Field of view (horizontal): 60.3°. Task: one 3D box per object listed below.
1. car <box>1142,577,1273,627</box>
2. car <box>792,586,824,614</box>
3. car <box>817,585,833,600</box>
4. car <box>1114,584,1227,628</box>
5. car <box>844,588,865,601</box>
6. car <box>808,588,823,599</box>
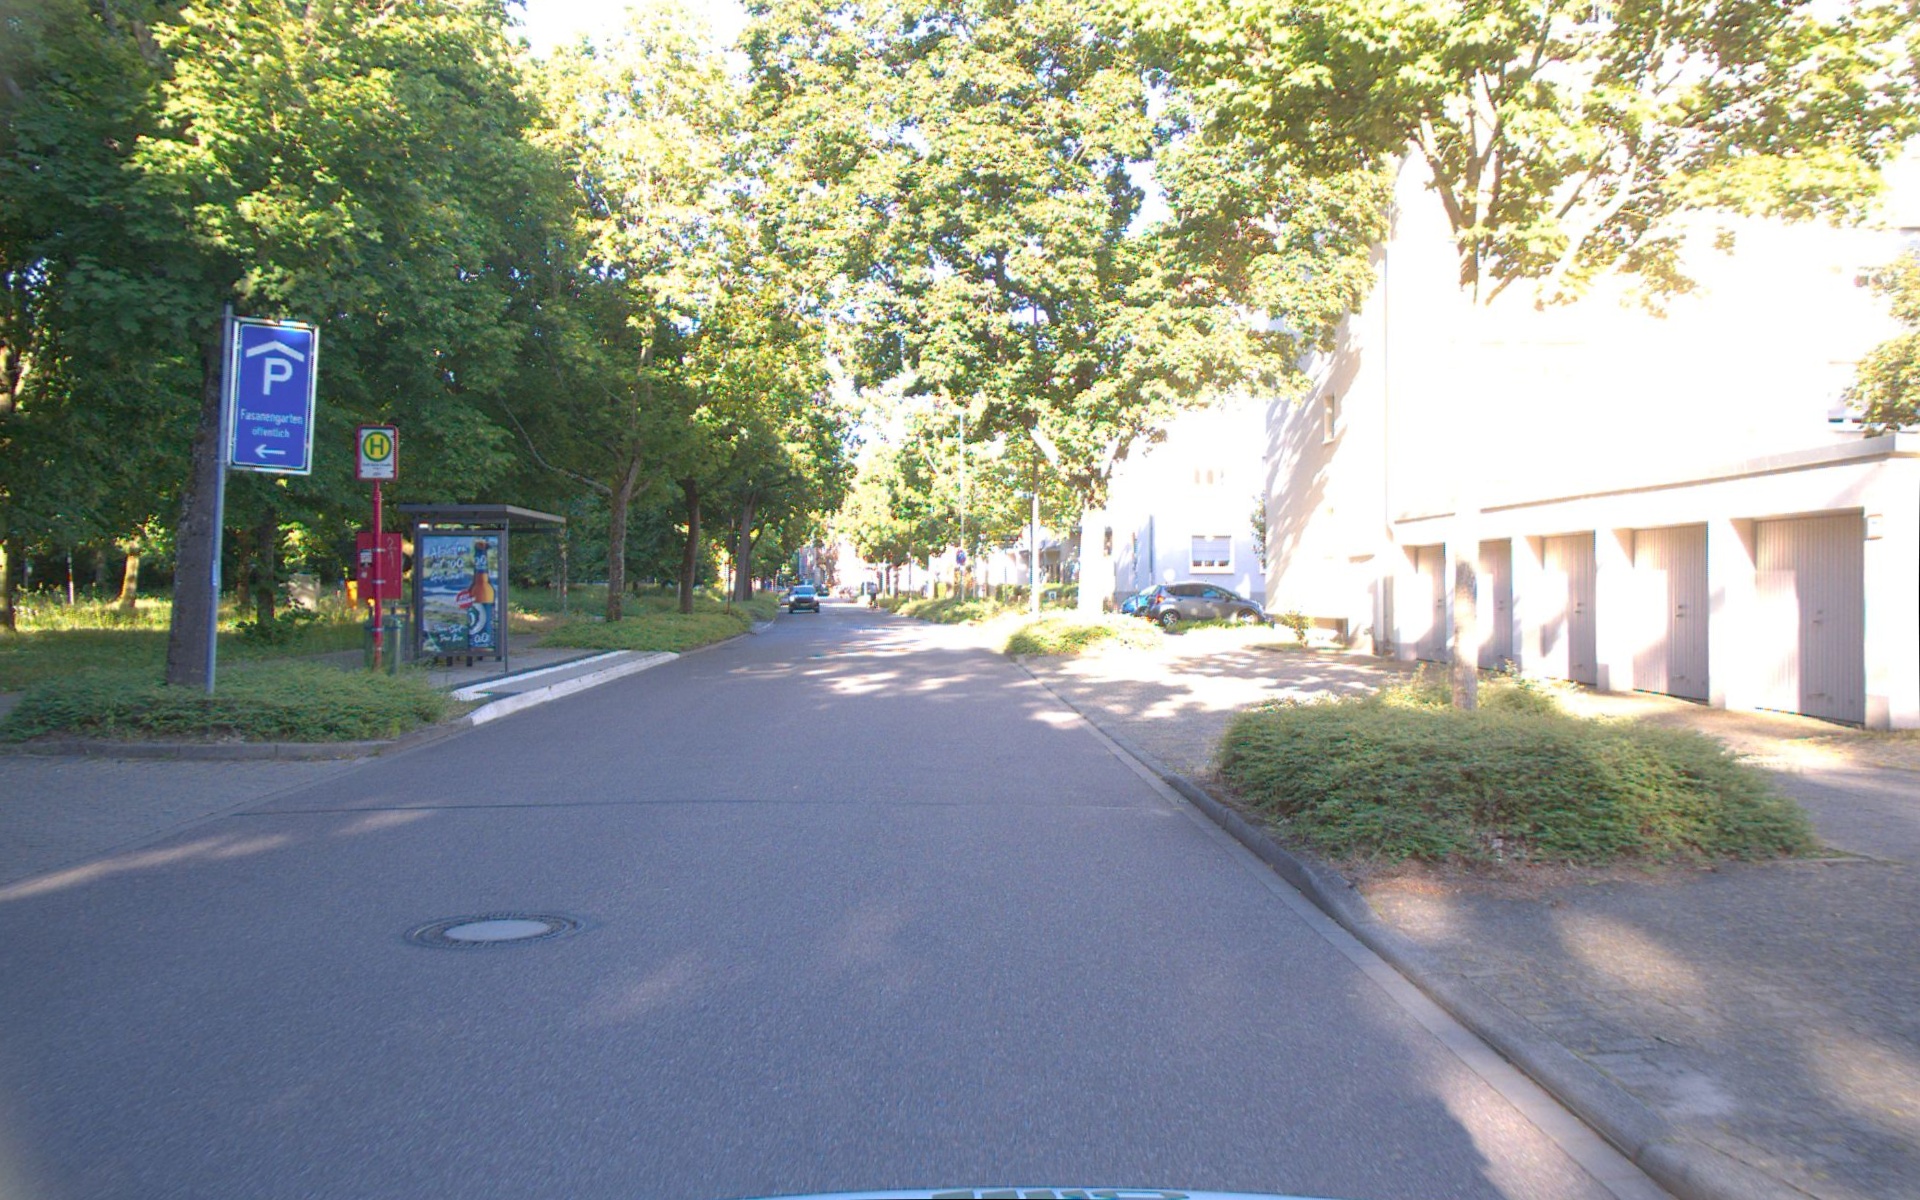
[{"bbox_3d":[8.142,0.083,54.587,3.962,1.541,1.725,1,-1,-5],"label":"car"},{"bbox_3d":[-9.014,-0.025,98.027,1.808,1.606,4.331,-2,1,-5],"label":"car"},{"bbox_3d":[-18.277,-1.055,223.121,1.778,1.959,3.991,1,0,-9],"label":"car"},{"bbox_3d":[7.899,0.211,62.333,3.911,1.609,1.807,0,1,-7],"label":"car"},{"bbox_3d":[-12.473,-0.631,194.945,1.780,1.527,3.986,0,0,-13],"label":"car"},{"bbox_3d":[-20.147,-0.895,231.075,1.778,1.527,3.991,1,0,-9],"label":"car"}]
